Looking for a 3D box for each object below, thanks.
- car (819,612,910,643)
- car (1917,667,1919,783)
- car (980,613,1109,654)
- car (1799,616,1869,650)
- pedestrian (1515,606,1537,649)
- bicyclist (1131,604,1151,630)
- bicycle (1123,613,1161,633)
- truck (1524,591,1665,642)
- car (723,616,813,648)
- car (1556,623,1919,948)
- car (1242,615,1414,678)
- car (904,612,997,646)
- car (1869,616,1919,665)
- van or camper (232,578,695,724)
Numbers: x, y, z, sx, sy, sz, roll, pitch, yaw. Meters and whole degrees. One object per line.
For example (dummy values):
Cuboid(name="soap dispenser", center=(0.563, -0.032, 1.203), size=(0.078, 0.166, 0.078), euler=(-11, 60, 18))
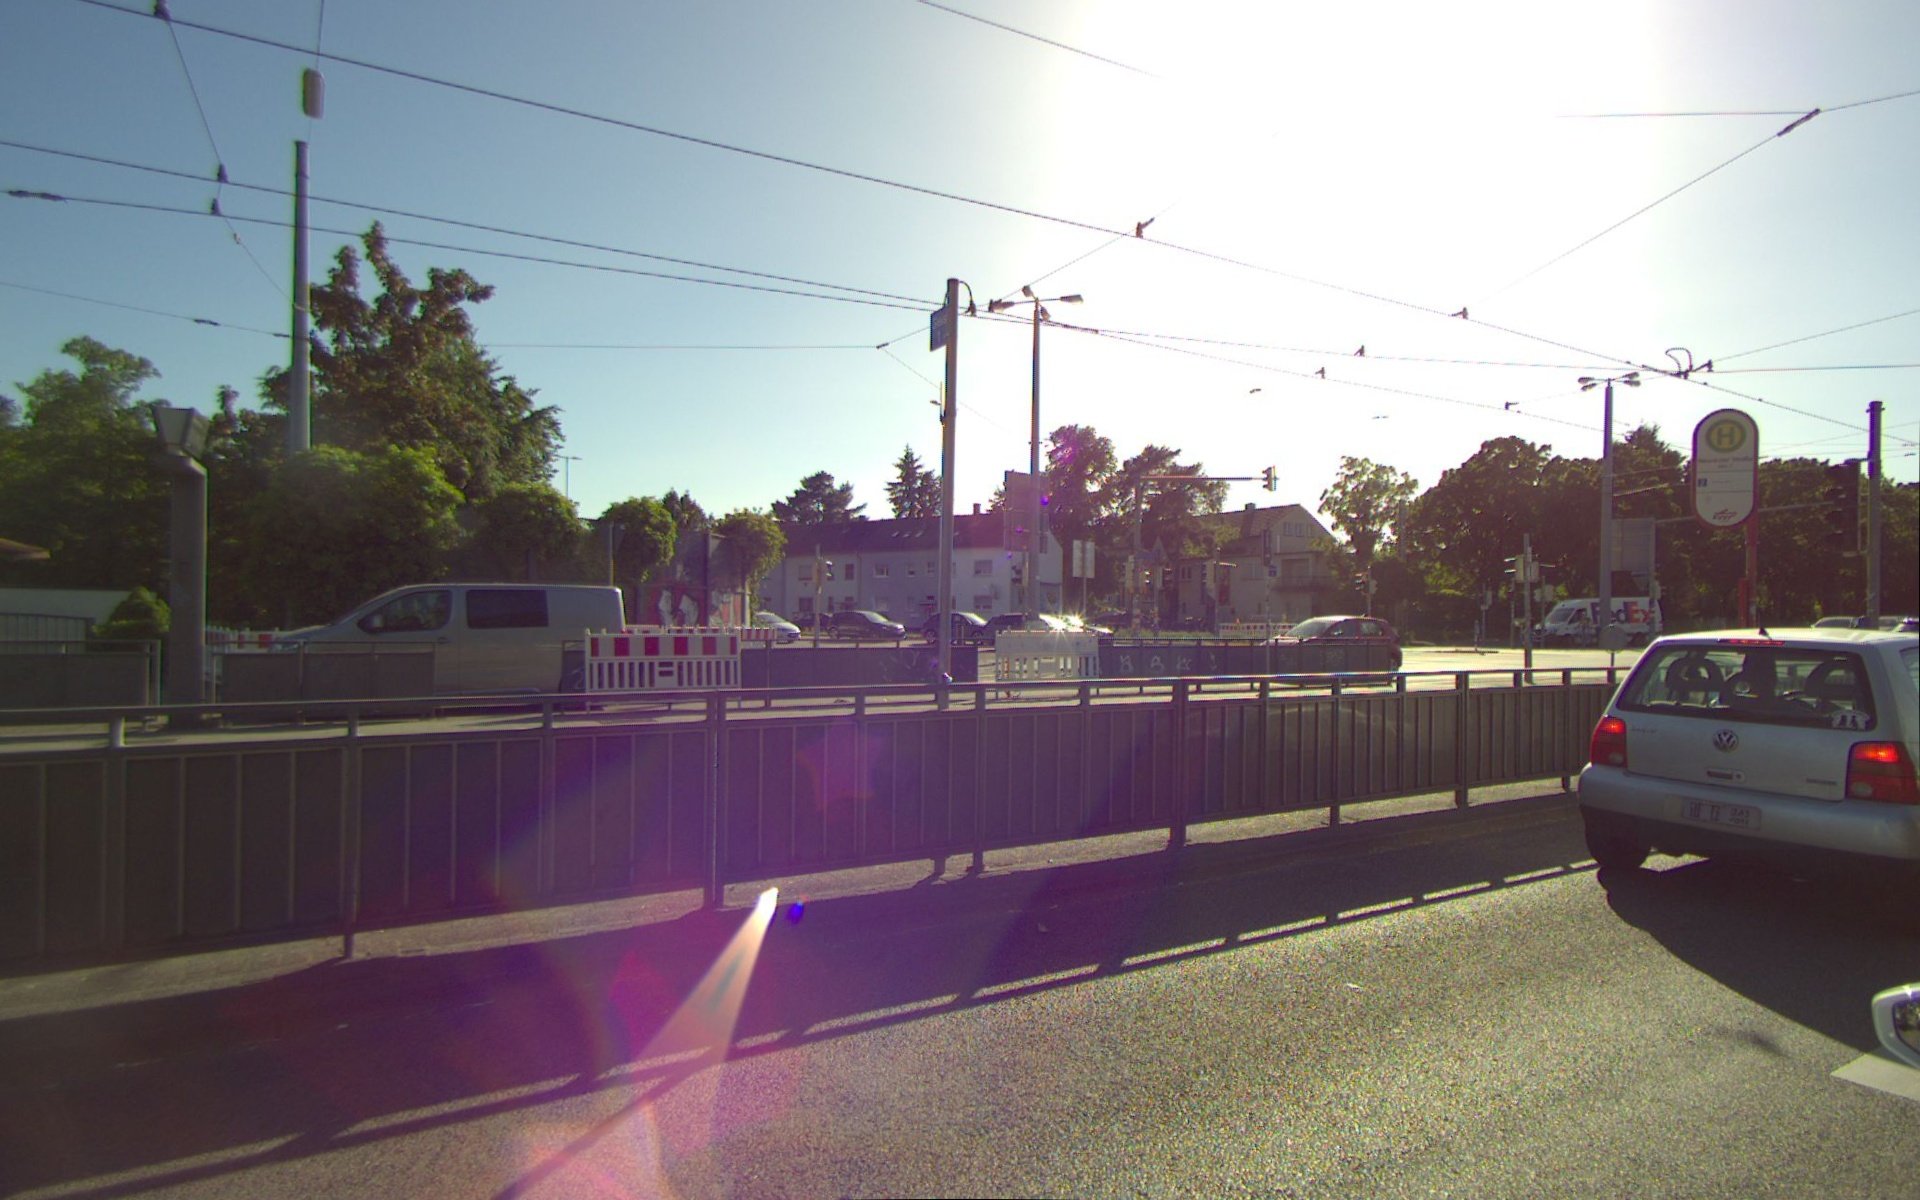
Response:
Cuboid(name="car", center=(-4.668, 1.314, 48.945), size=(4.212, 1.451, 1.788), euler=(0, -1, 34))
Cuboid(name="car", center=(10.867, 0.988, 9.497), size=(4.038, 1.476, 1.611), euler=(2, 0, -31))
Cuboid(name="car", center=(3.271, 1.264, 39.259), size=(4.754, 1.517, 1.781), euler=(0, -1, 34))
Cuboid(name="car", center=(42.530, 1.597, 48.844), size=(3.963, 1.568, 1.819), euler=(1, -1, -37))
Cuboid(name="pedestrian", center=(26.943, 1.312, 47.815), size=(0.785, 2.040, 0.741), euler=(1, -1, -42))
Cuboid(name="bicyclist", center=(11.622, 1.073, 64.468), size=(0.995, 1.669, 0.813), euler=(0, 0, 42))
Cuboid(name="bicycle", center=(11.654, 1.475, 64.431), size=(2.370, 1.279, 0.813), euler=(0, -1, 43))
Cuboid(name="truck", center=(33.531, 0.900, 53.148), size=(6.699, 2.599, 1.997), euler=(1, -1, -9))
Cuboid(name="car", center=(-9.162, 1.497, 47.768), size=(4.104, 1.451, 1.846), euler=(0, -1, 34))
Cuboid(name="car", center=(5.295, 0.881, 6.011), size=(3.312, 1.436, 1.611), euler=(2, -2, -31))
Cuboid(name="car", center=(8.958, 1.103, 24.462), size=(3.960, 1.421, 1.600), euler=(1, -1, -24))
Cuboid(name="car", center=(-0.452, 1.299, 45.877), size=(4.104, 1.451, 1.589), euler=(0, -1, 34))
Cuboid(name="car", center=(31.222, 1.264, 31.305), size=(3.920, 1.498, 1.716), euler=(0, -1, 18))
Cuboid(name="van or camper", center=(-7.216, 0.698, 15.144), size=(5.921, 1.852, 1.983), euler=(1, -1, -32))
